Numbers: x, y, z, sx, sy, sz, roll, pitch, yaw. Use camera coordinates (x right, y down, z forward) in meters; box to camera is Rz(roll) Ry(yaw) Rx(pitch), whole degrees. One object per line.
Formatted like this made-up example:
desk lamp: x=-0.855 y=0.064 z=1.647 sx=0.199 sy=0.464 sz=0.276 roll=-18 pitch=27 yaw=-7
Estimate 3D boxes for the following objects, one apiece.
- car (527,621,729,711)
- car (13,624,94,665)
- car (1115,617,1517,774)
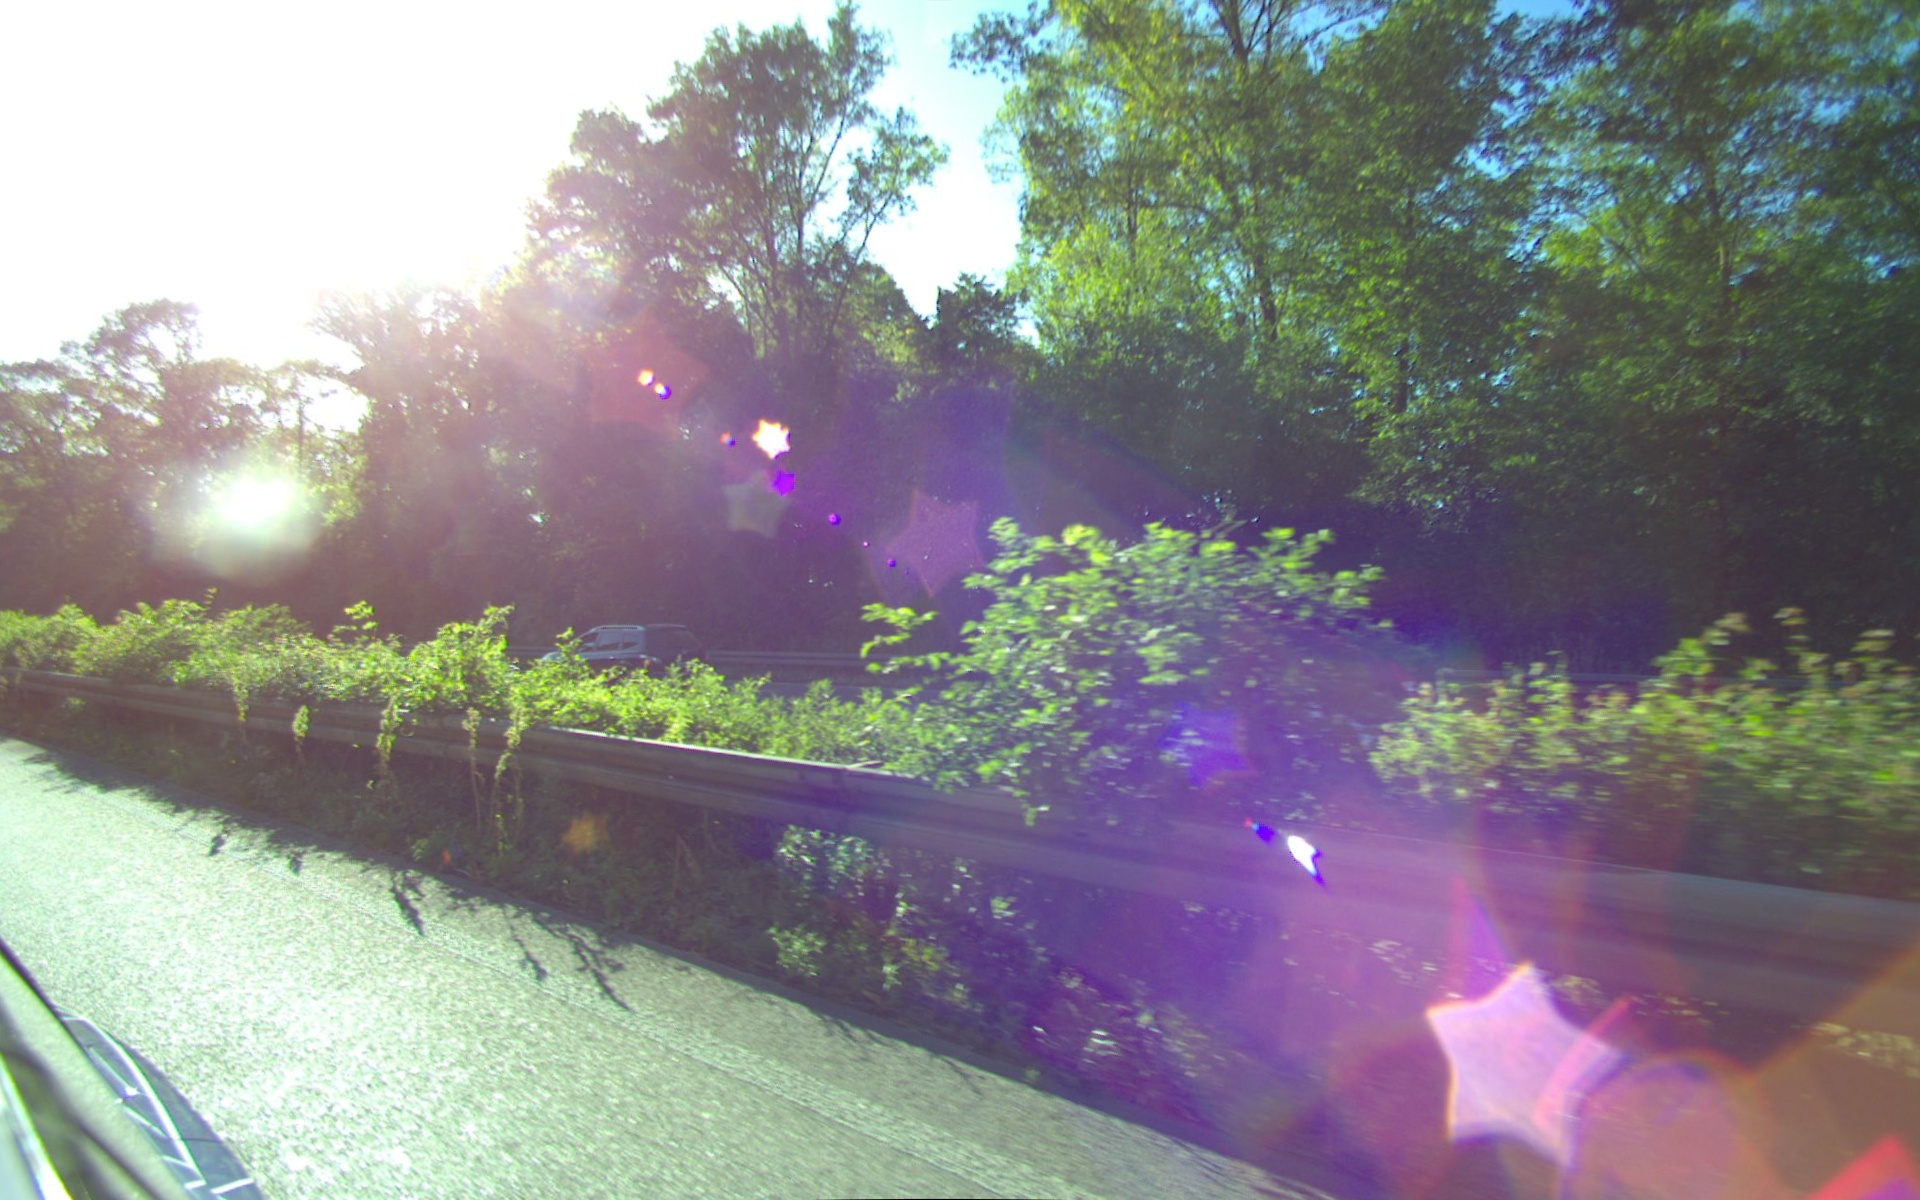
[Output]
car: x=-7.015 y=1.286 z=21.121 sx=4.619 sy=1.637 sz=1.878 roll=-1 pitch=0 yaw=40
car: x=-43.889 y=2.112 z=48.964 sx=4.700 sy=1.875 sz=1.976 roll=-1 pitch=0 yaw=36
car: x=4.438 y=1.064 z=12.947 sx=4.496 sy=1.639 sz=1.880 roll=-1 pitch=0 yaw=37
